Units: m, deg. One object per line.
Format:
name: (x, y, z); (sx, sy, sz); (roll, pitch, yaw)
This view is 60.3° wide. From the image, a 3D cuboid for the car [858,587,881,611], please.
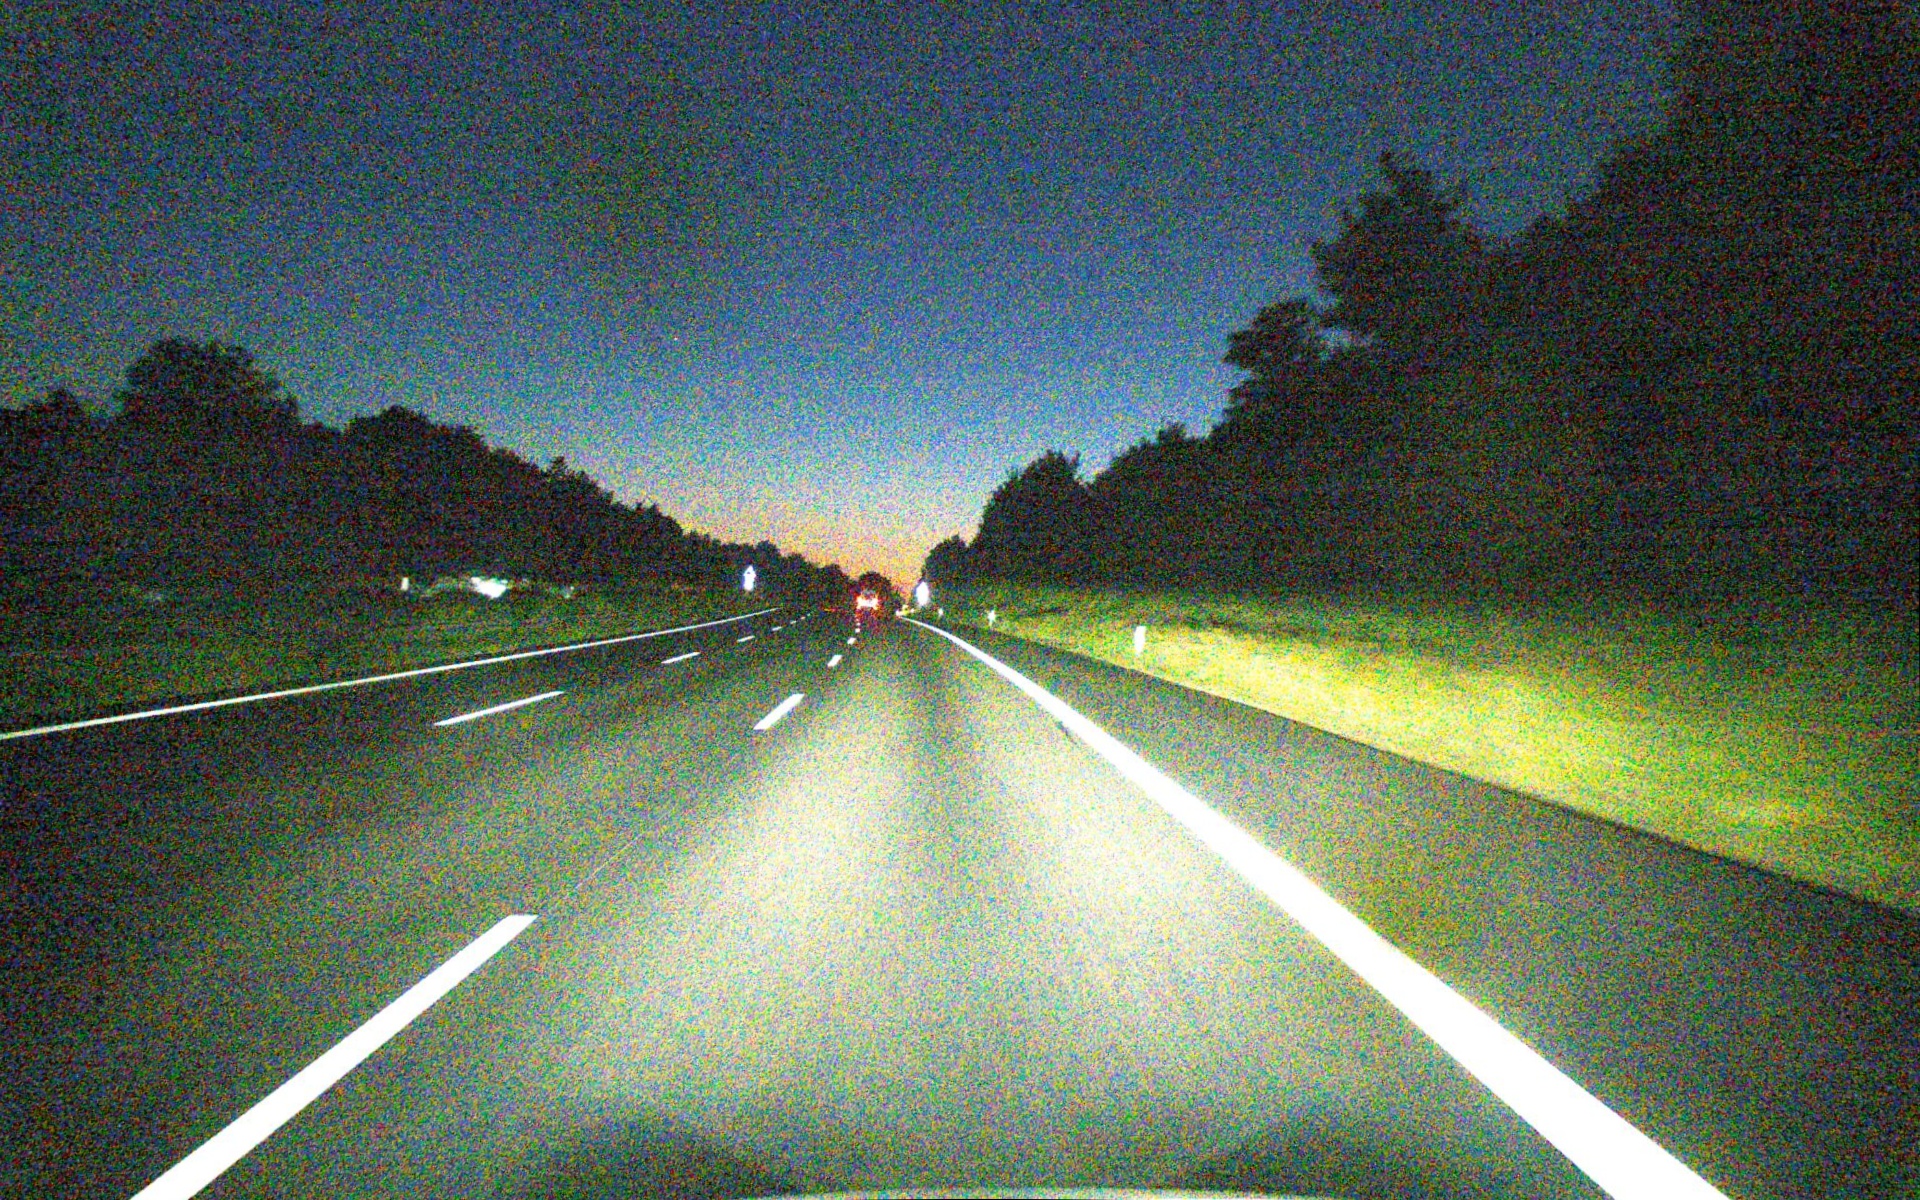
car: (-10.223, -0.099, 187.354); (2.477, 2.598, 6.048); (3, 0, -2)
